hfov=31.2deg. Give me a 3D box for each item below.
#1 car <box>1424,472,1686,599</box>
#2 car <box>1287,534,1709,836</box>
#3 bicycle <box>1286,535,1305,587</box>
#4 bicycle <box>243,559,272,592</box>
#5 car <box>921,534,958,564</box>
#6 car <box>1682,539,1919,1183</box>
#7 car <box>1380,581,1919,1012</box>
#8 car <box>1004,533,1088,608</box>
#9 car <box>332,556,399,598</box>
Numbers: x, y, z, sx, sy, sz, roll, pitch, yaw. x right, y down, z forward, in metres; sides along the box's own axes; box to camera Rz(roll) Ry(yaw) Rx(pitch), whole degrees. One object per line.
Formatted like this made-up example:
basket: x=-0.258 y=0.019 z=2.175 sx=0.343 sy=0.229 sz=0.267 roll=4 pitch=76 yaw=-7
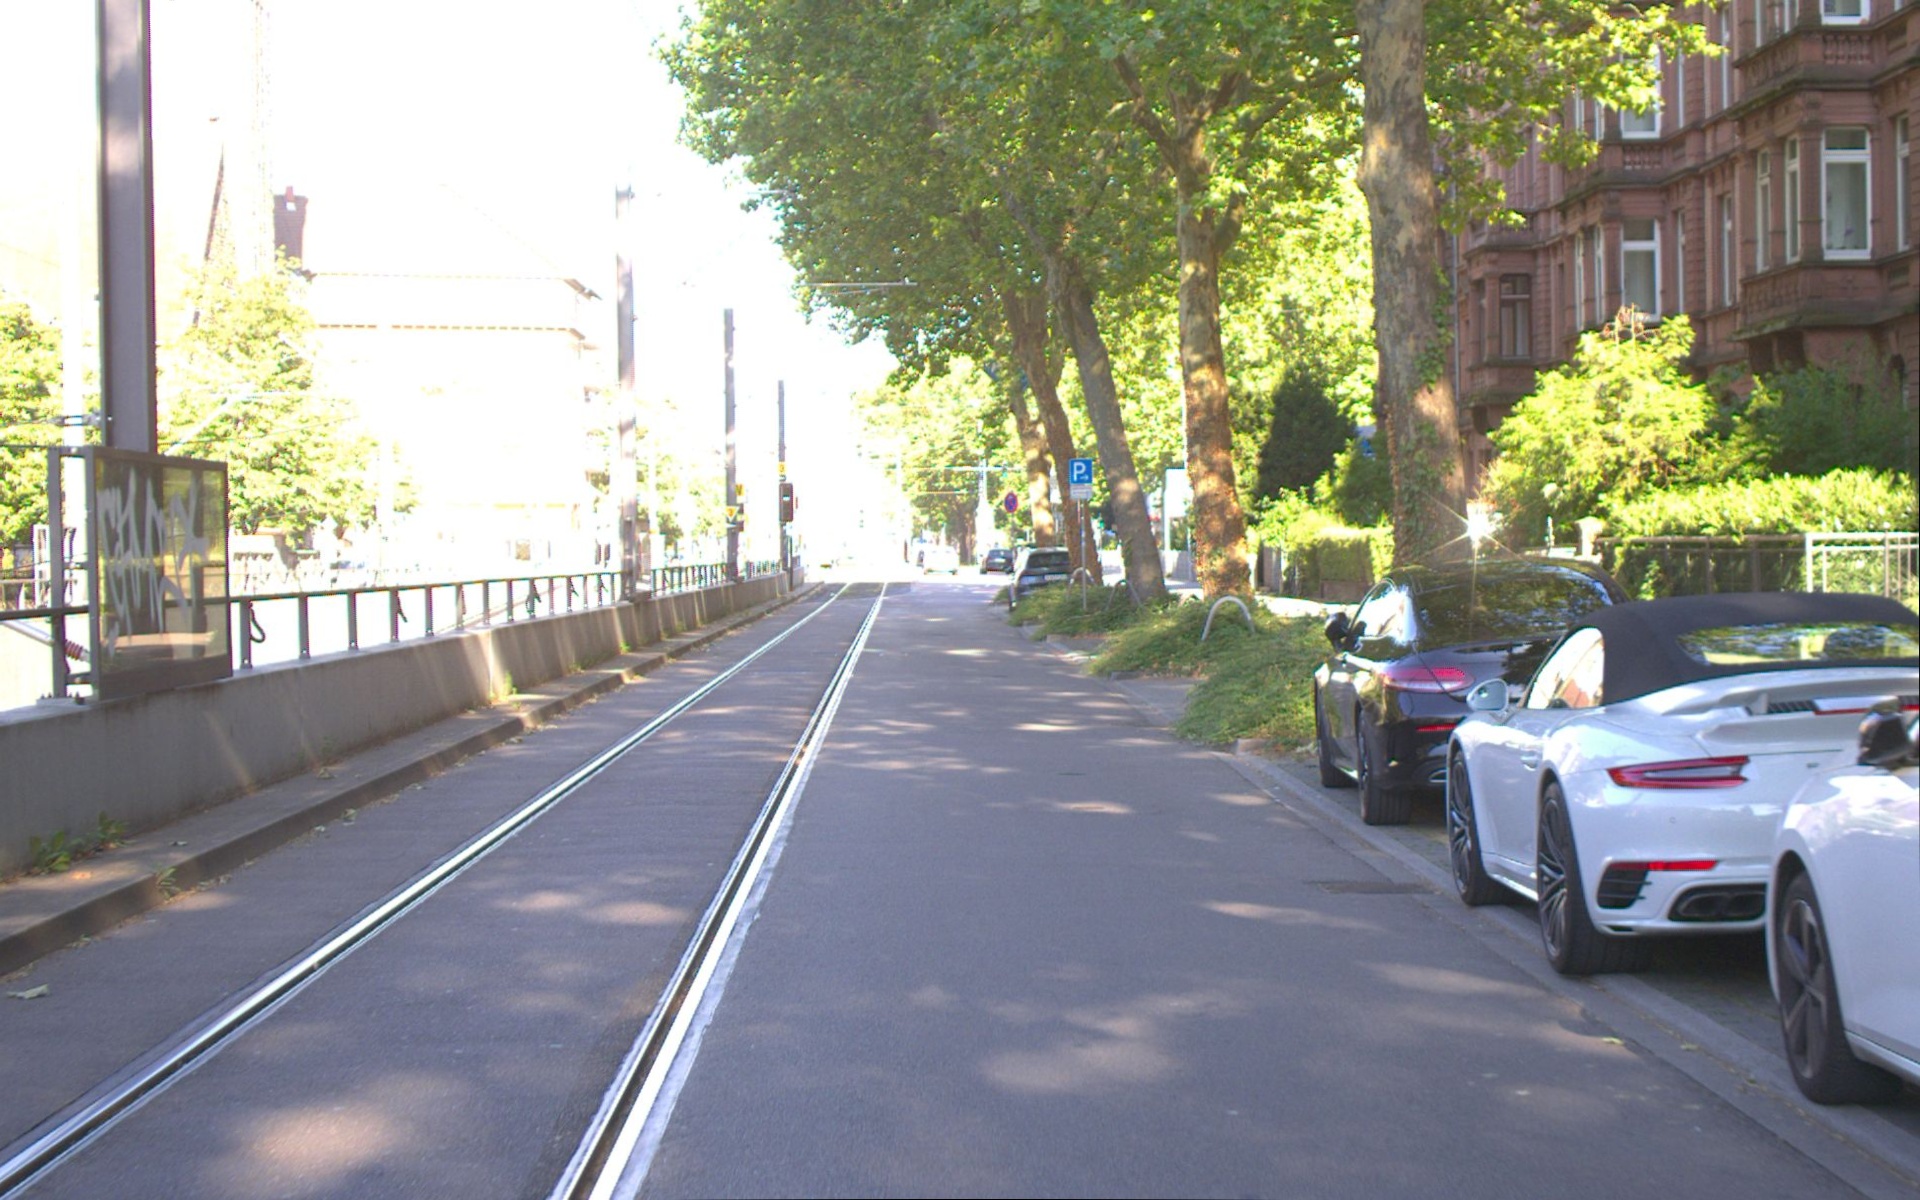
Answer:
car: x=10.570 y=-1.152 z=61.230 sx=4.175 sy=2.007 sz=2.000 roll=-3 pitch=1 yaw=-2
car: x=2.982 y=0.396 z=19.996 sx=1.732 sy=1.531 sz=4.805 roll=-1 pitch=1 yaw=0
bicycle: x=8.143 y=-0.953 z=83.452 sx=0.337 sy=1.245 sz=1.767 roll=2 pitch=1 yaw=3
bicycle: x=-23.204 y=-0.815 z=113.533 sx=0.485 sy=1.019 sz=1.894 roll=1 pitch=1 yaw=-25
car: x=-1.035 y=-2.597 z=175.208 sx=1.745 sy=1.457 sz=3.645 roll=2 pitch=1 yaw=-2
car: x=3.095 y=0.592 z=7.838 sx=1.802 sy=1.472 sz=4.647 roll=-1 pitch=1 yaw=-1
car: x=2.787 y=0.621 z=13.059 sx=1.830 sy=1.322 sz=4.000 roll=-1 pitch=1 yaw=-1
car: x=1.922 y=-0.683 z=77.549 sx=1.616 sy=1.581 sz=4.417 roll=-2 pitch=1 yaw=-2
car: x=-23.093 y=-0.917 z=133.742 sx=1.716 sy=1.550 sz=4.510 roll=2 pitch=1 yaw=1
